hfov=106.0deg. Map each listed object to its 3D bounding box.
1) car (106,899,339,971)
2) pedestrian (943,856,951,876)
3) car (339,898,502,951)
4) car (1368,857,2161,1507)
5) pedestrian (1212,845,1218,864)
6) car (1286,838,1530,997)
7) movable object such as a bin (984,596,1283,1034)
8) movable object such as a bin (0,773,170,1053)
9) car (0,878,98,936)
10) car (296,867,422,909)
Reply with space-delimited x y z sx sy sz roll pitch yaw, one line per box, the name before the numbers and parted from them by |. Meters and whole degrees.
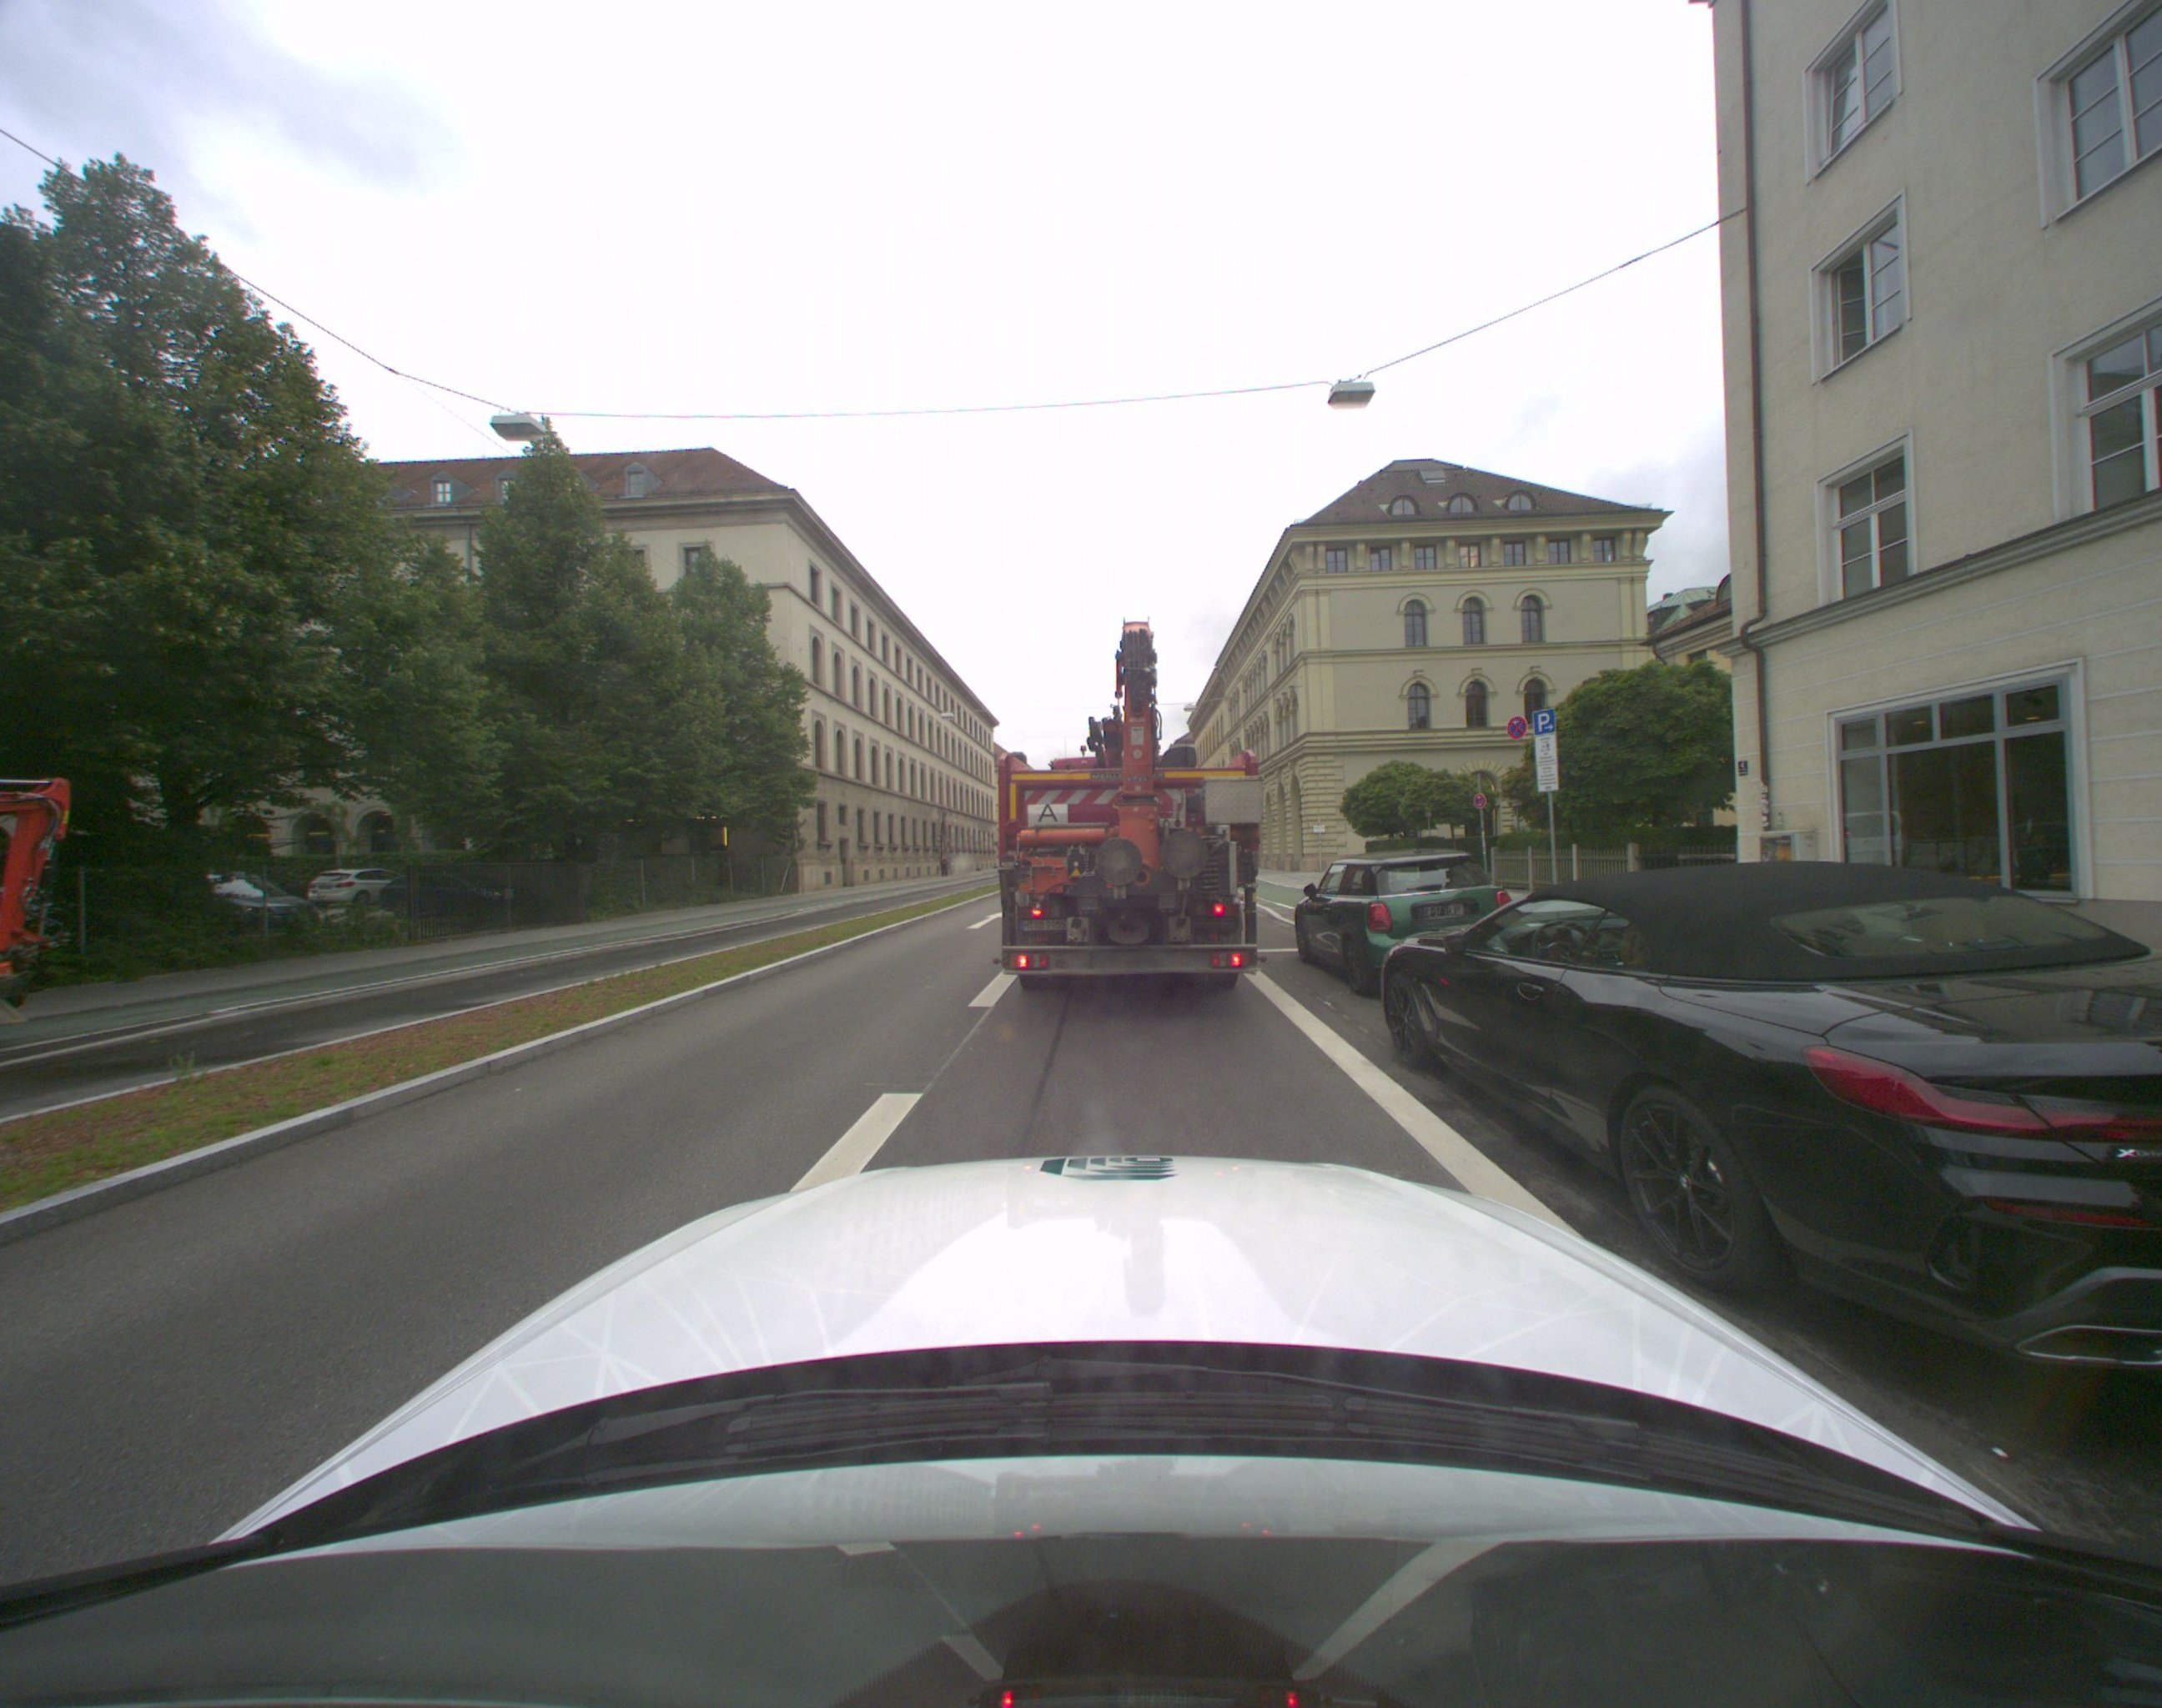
car | -21.618 2.015 20.634 3.914 1.545 1.836 -1 0 0
pedestrian | -12.262 1.076 74.293 0.586 1.831 0.499 -1 0 1
car | -22.089 2.338 27.362 3.914 1.545 1.836 -1 0 0
car | 2.940 0.729 3.991 1.673 1.386 4.429 -1 0 2
pedestrian | 12.848 0.038 77.853 0.444 1.836 0.556 -2 0 3
car | 3.616 0.618 9.658 1.604 1.495 3.426 -2 0 2
movable object such as a bin | 0.517 -0.329 9.746 2.414 3.611 5.853 -1 0 1
movable object such as a bin | -11.087 0.586 6.842 1.993 2.641 4.651 -2 0 -9
car | -31.385 1.561 23.116 1.824 1.545 4.178 -1 0 1
car | -30.832 1.405 34.962 1.824 1.545 3.941 -1 0 1
